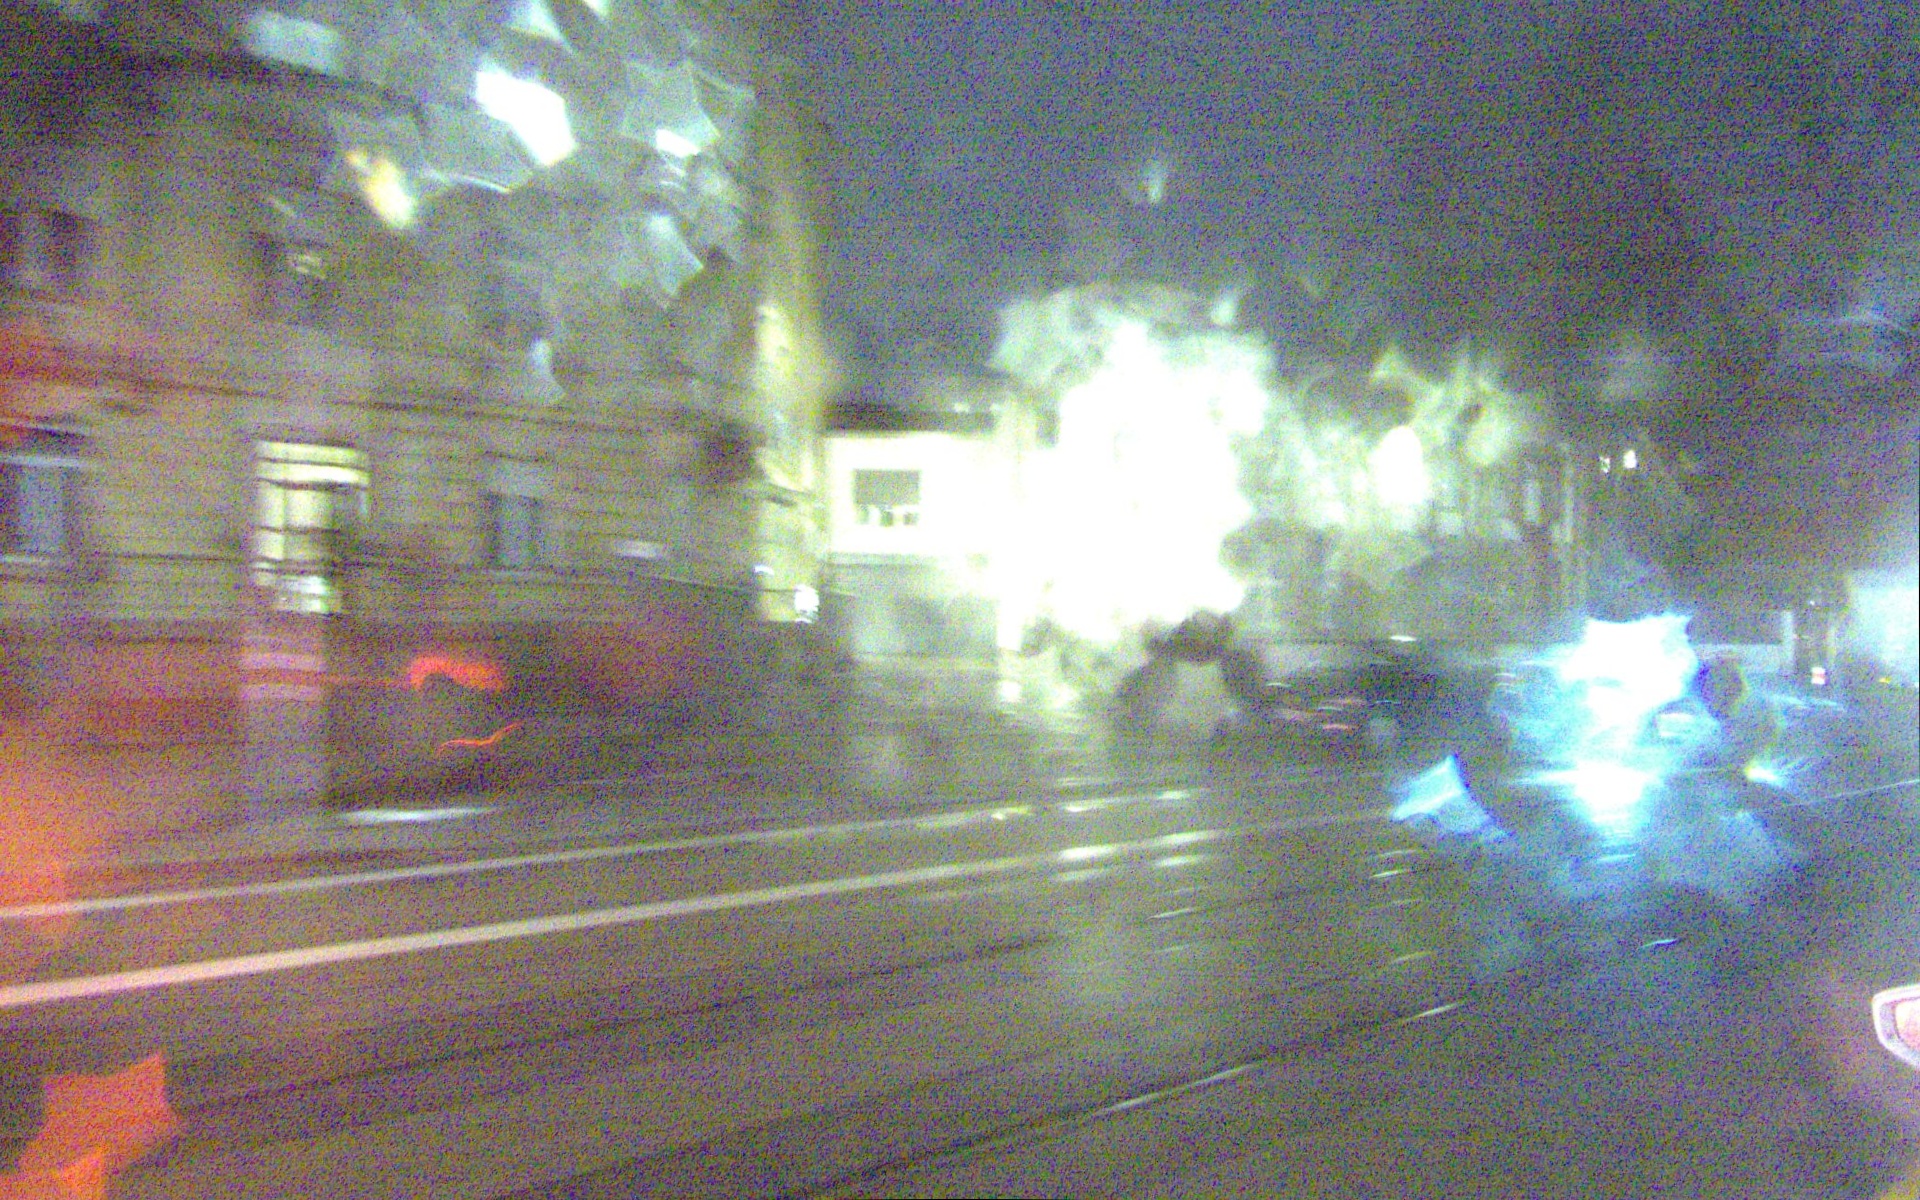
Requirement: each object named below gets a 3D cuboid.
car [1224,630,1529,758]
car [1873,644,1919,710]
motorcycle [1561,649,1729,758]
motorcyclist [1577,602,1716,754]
[{"bbox_3d":[5.595,1.194,13.401,3.954,1.405,1.660,3,1,-30],"label":"car"},{"bbox_3d":[23.402,1.832,23.845,3.766,1.447,1.601,2,0,-32],"label":"car"},{"bbox_3d":[8.402,1.259,12.313,1.975,1.246,0.814,3,-6,-28],"label":"motorcycle"},{"bbox_3d":[8.426,0.967,12.353,1.122,1.762,0.915,2,-6,-27],"label":"motorcyclist"}]
